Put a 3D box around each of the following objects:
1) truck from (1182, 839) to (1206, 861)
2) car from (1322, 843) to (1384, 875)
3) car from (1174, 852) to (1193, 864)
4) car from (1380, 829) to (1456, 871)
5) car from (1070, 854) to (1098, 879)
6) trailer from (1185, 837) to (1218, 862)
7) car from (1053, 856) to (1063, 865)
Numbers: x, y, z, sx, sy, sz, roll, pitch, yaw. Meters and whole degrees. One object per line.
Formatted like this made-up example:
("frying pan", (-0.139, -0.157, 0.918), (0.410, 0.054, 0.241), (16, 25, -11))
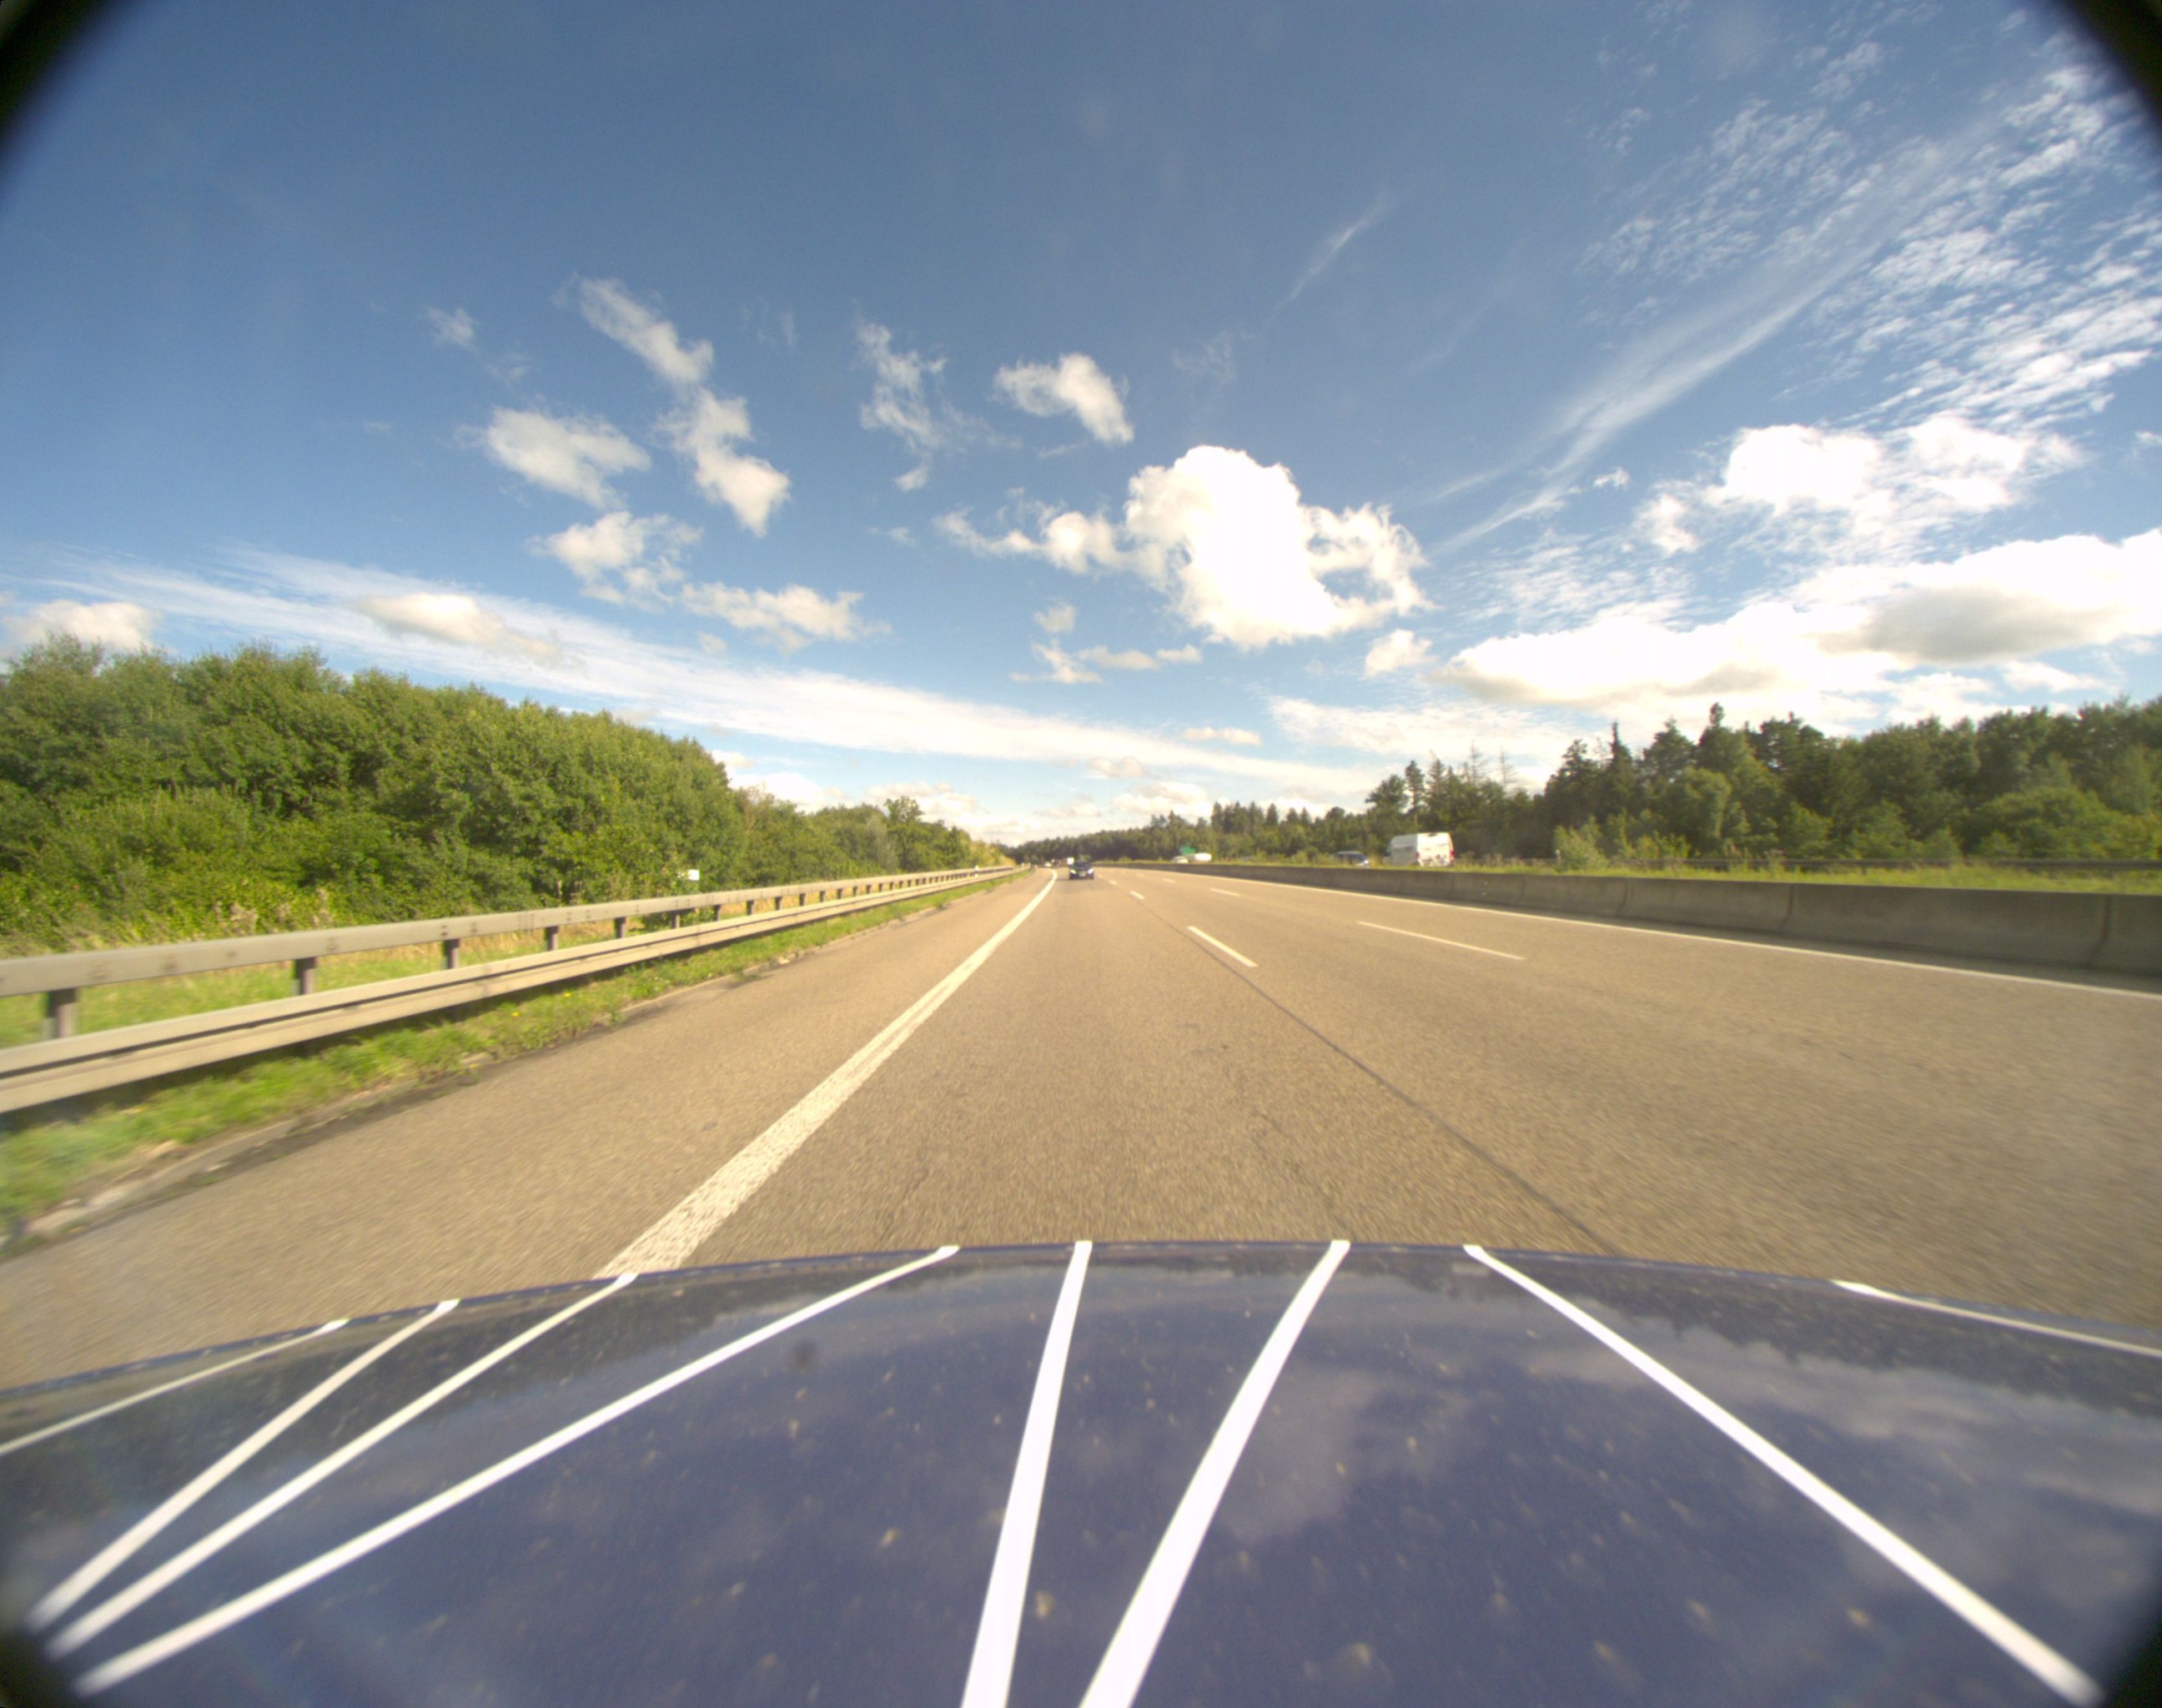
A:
("truck", (20.806, -0.703, 140.559), (3.384, 3.985, 5.863), (-2, 0, -1))
("car", (15.905, 0.282, 44.604), (2.070, 1.723, 4.322), (-2, 0, 0))
("car", (14.367, 0.591, 106.601), (1.931, 1.600, 4.464), (-2, 0, 0))
("car", (19.486, -0.203, 44.173), (2.070, 2.231, 5.204), (-2, 0, 0))
("car", (0.198, 0.914, 58.718), (1.999, 1.827, 3.999), (-2, 0, -2))
("trailer", (20.949, -0.714, 133.054), (3.384, 3.985, 13.638), (-2, 0, -1))
("car", (-5.420, 1.622, 178.583), (1.998, 2.002, 4.000), (-2, 0, 0))
